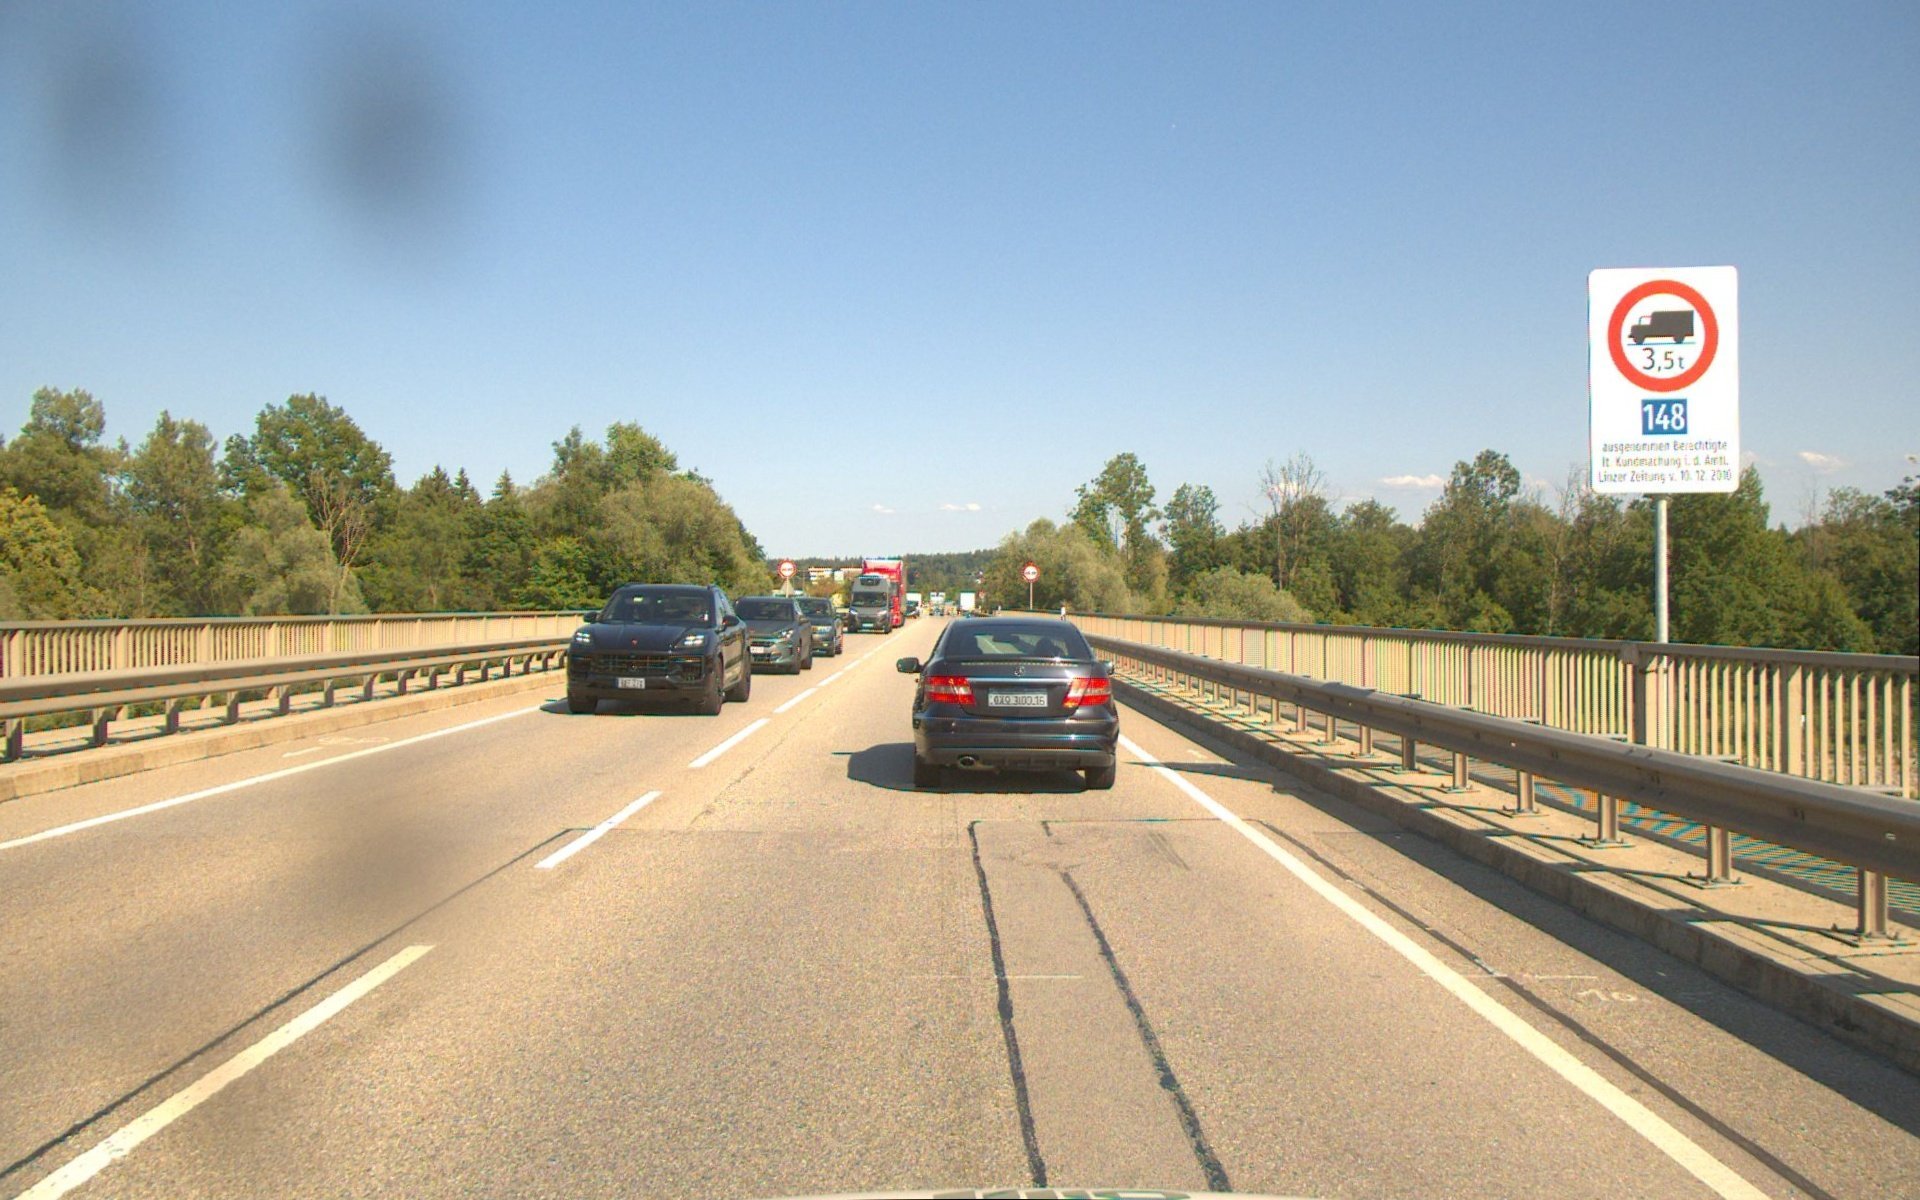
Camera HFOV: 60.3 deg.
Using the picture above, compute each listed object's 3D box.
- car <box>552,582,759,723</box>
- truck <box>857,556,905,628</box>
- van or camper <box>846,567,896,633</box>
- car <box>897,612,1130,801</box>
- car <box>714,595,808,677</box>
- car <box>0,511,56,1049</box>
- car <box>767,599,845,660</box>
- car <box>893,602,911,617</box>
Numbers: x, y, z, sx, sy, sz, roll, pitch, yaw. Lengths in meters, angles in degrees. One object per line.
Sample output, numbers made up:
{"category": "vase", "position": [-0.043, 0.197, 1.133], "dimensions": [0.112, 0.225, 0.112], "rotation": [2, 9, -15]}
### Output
{"category": "car", "position": [-4.092, 0.690, 23.024], "dimensions": [2.012, 1.681, 4.720], "rotation": [2, -1, -1]}
{"category": "truck", "position": [-4.976, -0.479, 103.278], "dimensions": [2.850, 4.258, 5.709], "rotation": [1, 0, -4]}
{"category": "van or camper", "position": [-4.395, 0.008, 82.467], "dimensions": [2.268, 3.104, 6.814], "rotation": [1, 0, -2]}
{"category": "car", "position": [0.427, 0.829, 14.690], "dimensions": [1.756, 1.400, 4.000], "rotation": [1, 0, 0]}
{"category": "car", "position": [-4.190, 0.722, 35.333], "dimensions": [1.771, 1.605, 4.197], "rotation": [1, 0, -4]}
{"category": "car", "position": [-3.984, 0.568, 3.364], "dimensions": [1.817, 1.752, 4.565], "rotation": [1, 0, -1]}
{"category": "car", "position": [-4.298, 0.798, 46.839], "dimensions": [1.836, 1.611, 4.273], "rotation": [1, 0, -1]}
{"category": "car", "position": [-6.459, 1.080, 184.110], "dimensions": [1.805, 1.671, 4.573], "rotation": [1, 0, -4]}
